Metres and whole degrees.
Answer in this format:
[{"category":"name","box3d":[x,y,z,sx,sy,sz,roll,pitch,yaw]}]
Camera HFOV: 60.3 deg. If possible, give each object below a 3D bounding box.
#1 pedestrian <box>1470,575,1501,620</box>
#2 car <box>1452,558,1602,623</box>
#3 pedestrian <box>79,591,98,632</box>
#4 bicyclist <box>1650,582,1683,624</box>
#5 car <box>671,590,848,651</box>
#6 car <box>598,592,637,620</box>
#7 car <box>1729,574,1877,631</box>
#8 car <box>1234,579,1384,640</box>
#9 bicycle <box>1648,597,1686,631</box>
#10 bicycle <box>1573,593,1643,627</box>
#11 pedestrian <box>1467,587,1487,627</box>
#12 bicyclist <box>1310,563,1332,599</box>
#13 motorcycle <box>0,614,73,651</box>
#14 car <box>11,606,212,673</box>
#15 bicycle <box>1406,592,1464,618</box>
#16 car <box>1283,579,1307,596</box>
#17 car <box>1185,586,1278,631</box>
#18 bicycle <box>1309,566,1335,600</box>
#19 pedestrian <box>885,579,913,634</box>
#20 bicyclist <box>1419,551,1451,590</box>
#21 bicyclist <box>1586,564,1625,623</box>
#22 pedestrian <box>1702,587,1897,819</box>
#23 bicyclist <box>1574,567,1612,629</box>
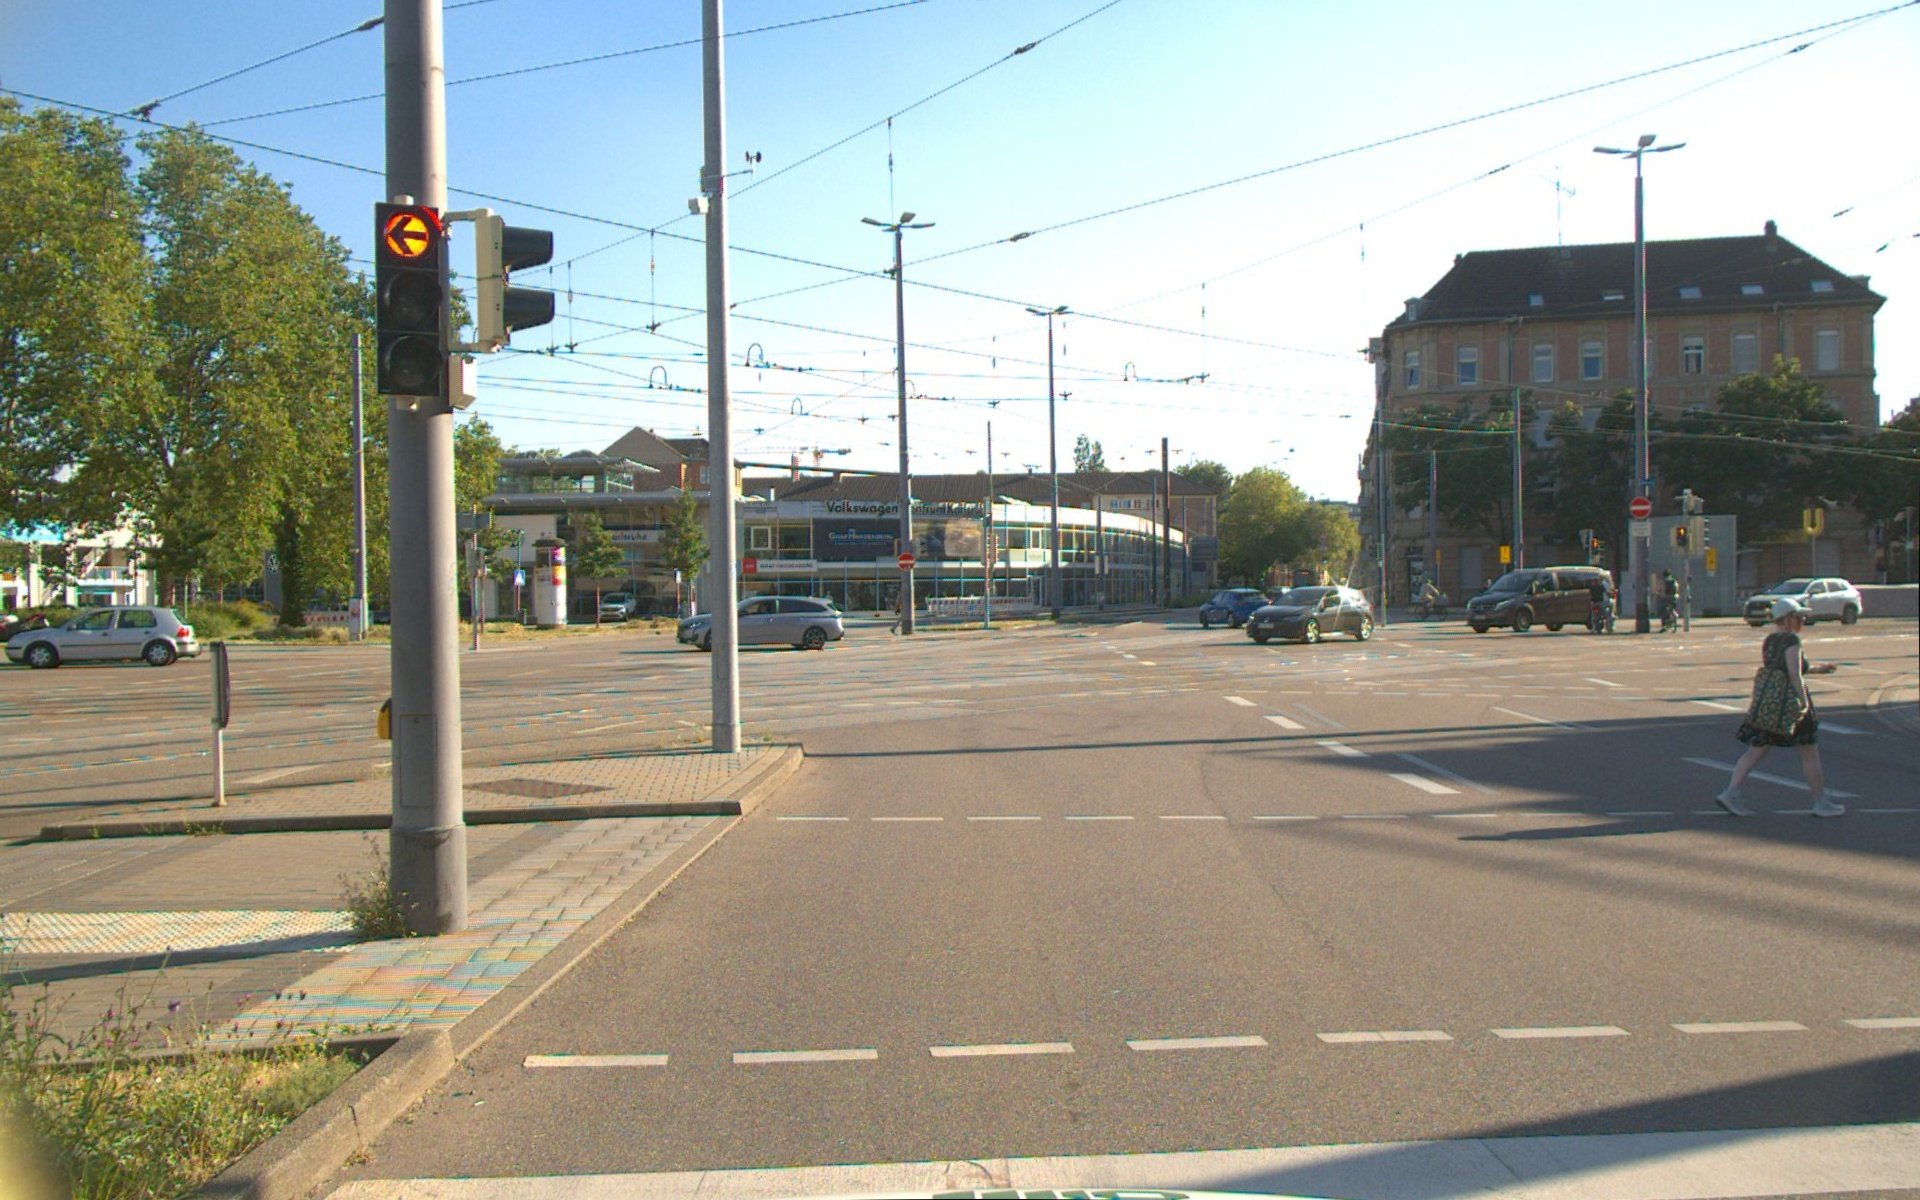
[{"category":"pedestrian","box3d":[20.178,-0.113,63.527,0.905,1.705,0.782,-1,0,-1]},{"category":"car","box3d":[17.610,-0.307,51.314,4.792,1.926,1.931,-1,0,-34]},{"category":"pedestrian","box3d":[-44.225,0.588,83.949,0.576,2.049,0.710,-1,0,-1]},{"category":"bicyclist","box3d":[20.890,0.074,48.914,0.839,1.197,0.715,1,2,19]},{"category":"car","box3d":[-5.504,0.524,45.314,4.481,1.544,1.940,-1,0,-23]},{"category":"car","box3d":[-20.778,0.347,100.456,1.955,1.561,3.995,0,2,-6]},{"category":"car","box3d":[28.603,0.060,56.108,4.773,1.830,1.938,-1,0,-25]},{"category":"car","box3d":[9.339,0.237,44.112,4.069,1.512,1.923,-1,0,-43]},{"category":"bicycle","box3d":[20.924,0.402,49.008,0.839,0.921,2.305,1,2,19]},{"category":"bicycle","box3d":[19.201,0.274,48.992,2.278,0.921,0.849,-1,2,-37]},{"category":"pedestrian","box3d":[21.929,0.293,70.121,0.635,1.682,0.549,-1,0,-38]},{"category":"bicyclist","box3d":[19.334,-1.024,88.572,1.095,1.933,1.074,1,2,17]},{"category":"motorcycle","box3d":[-28.187,0.972,50.043,2.246,1.072,0.685,0,2,-14]},{"category":"car","box3d":[-20.326,0.914,39.817,4.034,1.477,1.942,-1,0,-20]},{"category":"bicycle","box3d":[19.555,0.196,68.076,2.266,0.996,0.854,-1,2,-25]},{"category":"car","box3d":[37.138,-1.392,183.367,1.765,1.684,3.917,0,2,-2]},{"category":"car","box3d":[10.466,0.317,64.094,1.914,1.622,4.600,-1,0,-14]},{"category":"bicycle","box3d":[19.408,-0.915,88.597,1.111,1.719,4.004,1,2,16]},{"category":"pedestrian","box3d":[-2.108,0.225,57.014,0.969,1.847,0.920,0,2,-3]},{"category":"bicyclist","box3d":[19.545,-1.208,68.028,0.911,1.586,0.854,-1,2,-23]},{"category":"bicyclist","box3d":[19.093,-0.208,48.918,0.644,1.720,0.849,-1,2,-36]},{"category":"pedestrian","box3d":[6.203,0.732,12.250,1.073,1.634,0.697,0,2,-11]},{"category":"bicyclist","box3d":[18.564,-0.057,48.515,0.578,1.809,0.856,-1,0,-35]}]
